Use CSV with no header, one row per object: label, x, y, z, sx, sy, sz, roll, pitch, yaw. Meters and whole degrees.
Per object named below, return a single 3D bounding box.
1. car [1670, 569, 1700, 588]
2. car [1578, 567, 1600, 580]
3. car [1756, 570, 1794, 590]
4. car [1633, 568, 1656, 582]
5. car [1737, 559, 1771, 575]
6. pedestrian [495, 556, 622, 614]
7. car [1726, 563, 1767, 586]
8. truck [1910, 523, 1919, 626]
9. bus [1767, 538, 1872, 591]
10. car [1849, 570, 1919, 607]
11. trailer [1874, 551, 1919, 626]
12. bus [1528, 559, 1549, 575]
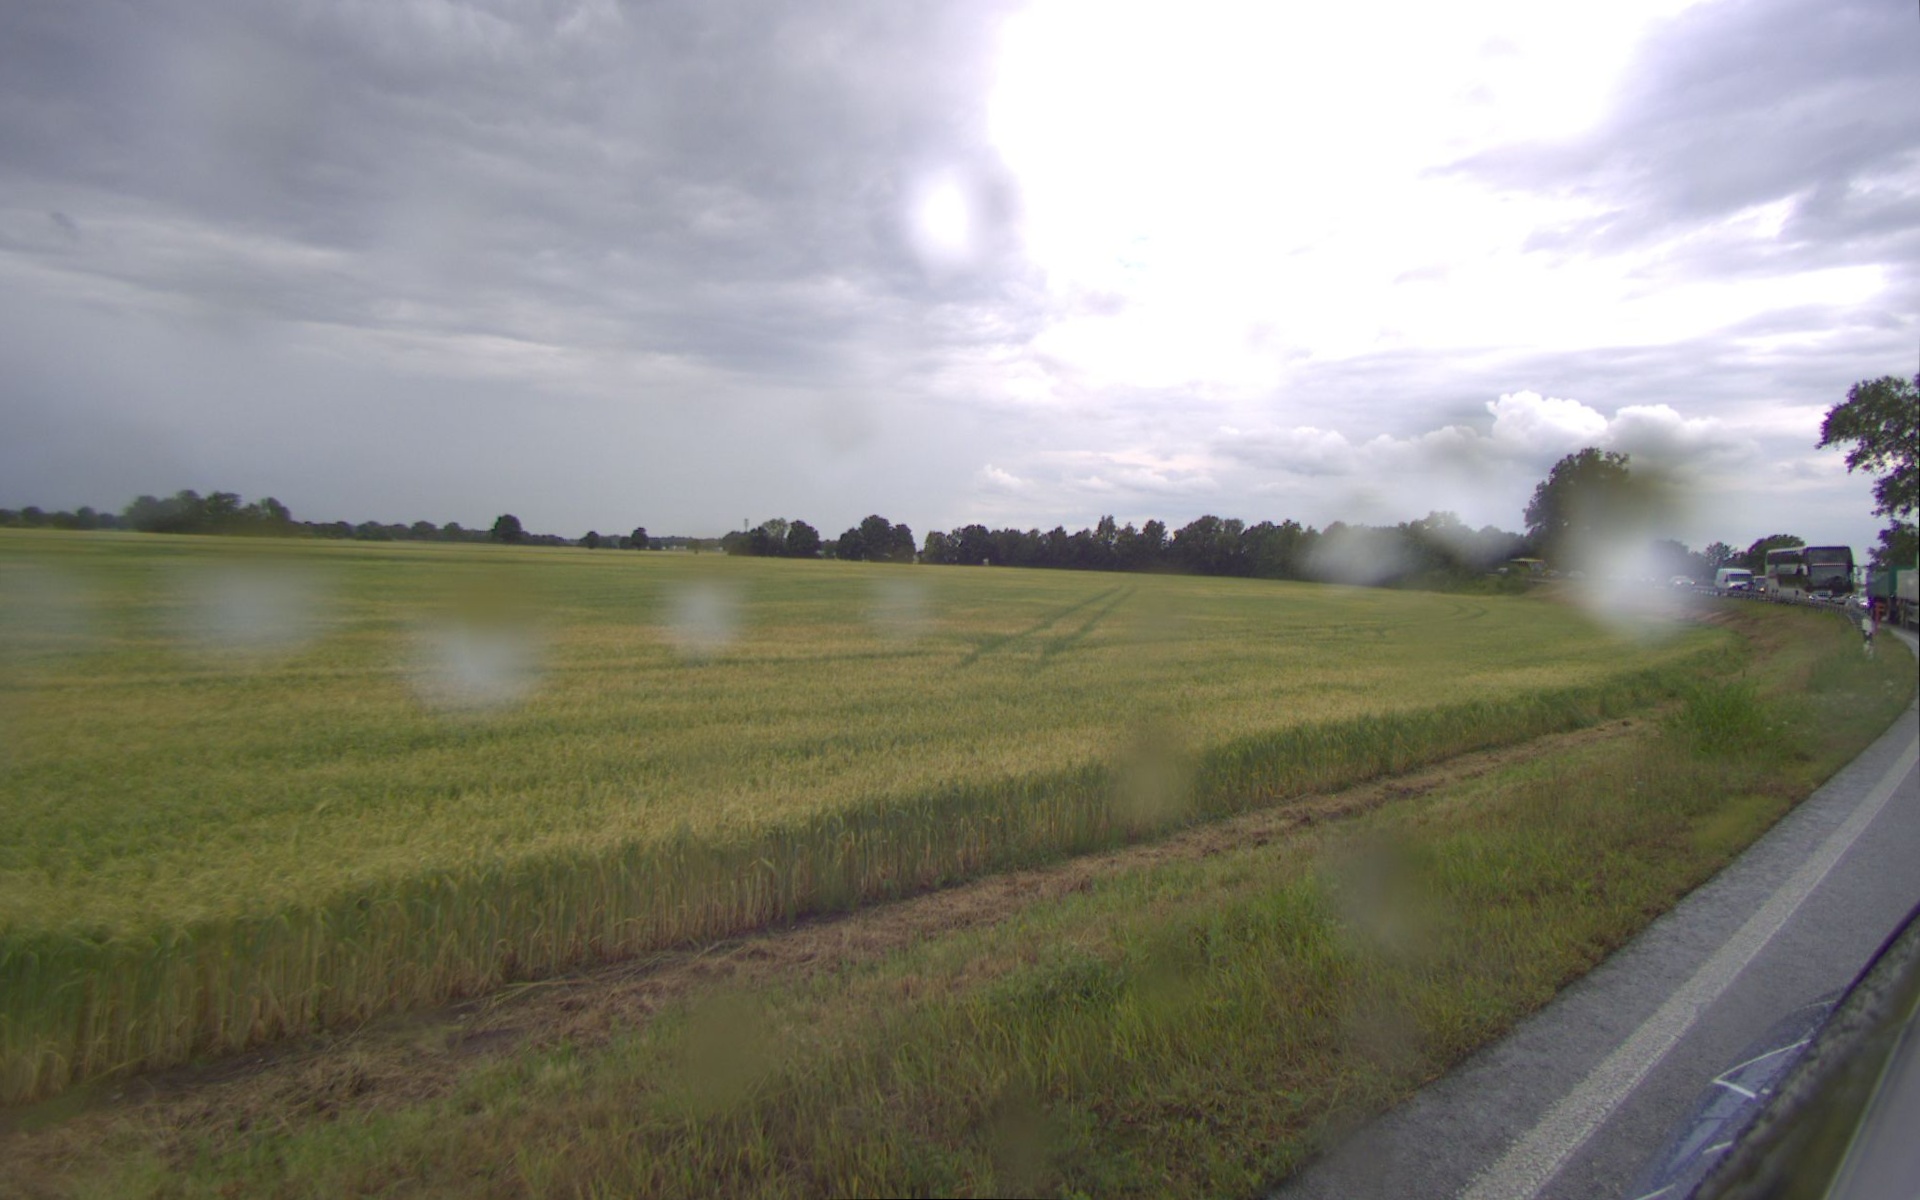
car,82.510,-2.434,115.178,1.979,2.039,4.197,-1,1,25
car,101.768,-4.244,163.817,1.973,2.039,4.209,-1,1,18
car,67.293,-1.666,83.599,1.799,1.597,3.960,-1,1,29
car,101.118,-3.661,149.528,1.865,2.039,4.267,-1,1,21
car,100.723,-4.177,128.436,1.973,2.039,4.097,-1,1,18
pedestrian,-14.937,-0.594,37.807,1.988,2.039,3.949,-1,1,36
car,72.397,-2.382,93.250,1.980,2.039,5.288,-1,1,27
truck,35.033,-0.887,34.726,2.970,3.655,5.998,0,1,38
bus,60.261,-2.549,71.410,2.940,3.353,14.687,-1,2,30
car,49.705,-0.648,54.519,2.029,1.865,5.272,-1,1,34
trailer,40.196,-0.642,41.398,2.969,2.665,15.471,0,1,38
bus,109.118,-6.244,190.997,1.973,2.951,6.972,-1,1,18
